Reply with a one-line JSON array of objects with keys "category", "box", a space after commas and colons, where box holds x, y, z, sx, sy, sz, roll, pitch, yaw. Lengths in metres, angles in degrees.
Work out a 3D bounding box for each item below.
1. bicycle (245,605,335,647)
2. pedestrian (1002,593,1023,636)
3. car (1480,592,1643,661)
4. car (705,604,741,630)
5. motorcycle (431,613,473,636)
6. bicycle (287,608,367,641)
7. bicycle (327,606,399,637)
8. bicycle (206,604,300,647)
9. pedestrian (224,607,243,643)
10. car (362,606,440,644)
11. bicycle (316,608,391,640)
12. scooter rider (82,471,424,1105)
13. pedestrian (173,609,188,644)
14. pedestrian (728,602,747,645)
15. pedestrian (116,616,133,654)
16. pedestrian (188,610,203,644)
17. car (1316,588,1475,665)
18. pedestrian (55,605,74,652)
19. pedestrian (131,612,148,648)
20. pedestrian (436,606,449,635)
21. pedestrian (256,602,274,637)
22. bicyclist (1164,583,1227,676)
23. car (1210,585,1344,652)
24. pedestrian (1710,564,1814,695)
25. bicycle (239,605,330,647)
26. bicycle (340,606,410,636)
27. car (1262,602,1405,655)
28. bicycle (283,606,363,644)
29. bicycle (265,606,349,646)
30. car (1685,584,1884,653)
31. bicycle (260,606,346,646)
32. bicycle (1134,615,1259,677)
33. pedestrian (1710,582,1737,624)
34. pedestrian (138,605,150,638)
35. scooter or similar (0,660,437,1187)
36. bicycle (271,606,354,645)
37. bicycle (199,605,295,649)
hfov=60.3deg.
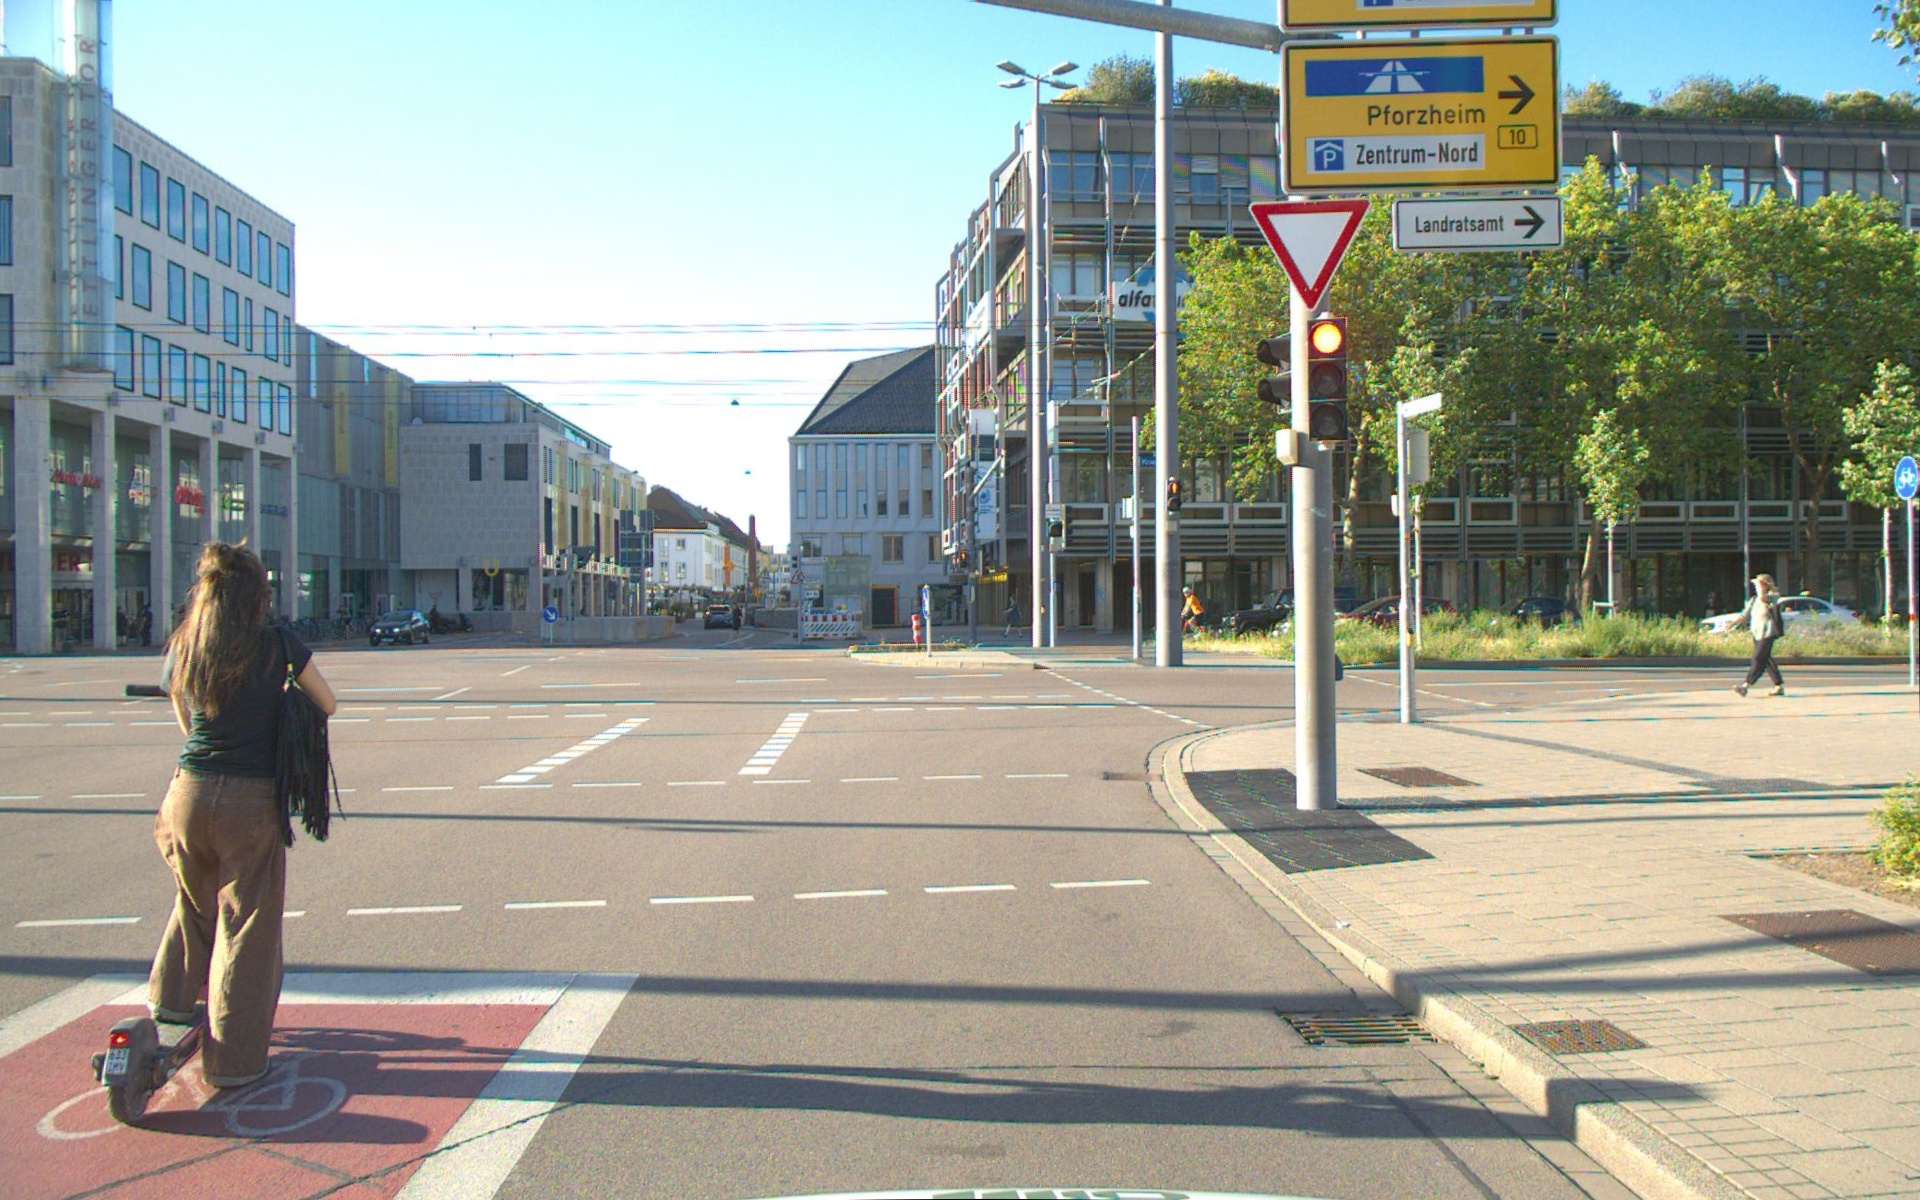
[{"category": "bicycle", "box": [-29.099, 1.122, 71.924, 3.427, 1.726, 1.114, -1, 0, -10]}, {"category": "pedestrian", "box": [2.093, 0.557, 65.465, 0.715, 1.687, 0.649, -1, 0, -8]}, {"category": "car", "box": [18.827, 0.823, 51.881, 4.359, 2.049, 1.998, 1, 0, -6]}, {"category": "car", "box": [-15.499, 1.096, 108.163, 2.157, 1.635, 4.320, -1, 0, -6]}, {"category": "motorcycle", "box": [-29.956, 1.434, 97.594, 2.230, 1.341, 0.719, -1, 0, -6]}, {"category": "bicycle", "box": [-30.543, 1.169, 79.856, 3.430, 1.554, 0.984, -1, 0, -12]}, {"category": "bicycle", "box": [-31.074, 1.118, 86.127, 3.430, 1.554, 0.984, -1, 0, -12]}, {"category": "bicycle", "box": [-29.549, 1.067, 69.190, 3.427, 1.726, 1.114, -1, 0, -10]}, {"category": "pedestrian", "box": [-33.795, 1.149, 76.951, 0.773, 1.671, 0.690, -1, 0, -21]}, {"category": "car", "box": [-23.523, 1.038, 69.761, 1.953, 1.512, 3.999, -1, 0, -1]}, {"category": "bicycle", "box": [-30.886, 1.211, 84.266, 3.430, 1.554, 0.984, -1, 0, -12]}, {"category": "scooter rider", "box": [-2.147, 0.534, 5.122, 0.713, 1.806, 0.811, 0, 0, -1]}, {"category": "pedestrian", "box": [-36.987, 1.255, 78.492, 0.472, 1.613, 0.598, -1, 0, -5]}, {"category": "pedestrian", "box": [-8.966, 0.946, 66.668, 0.650, 1.687, 0.755, -1, 0, -4]}, {"category": "pedestrian", "box": [-35.132, 1.465, 69.555, 0.472, 1.613, 0.513, -1, 0, -5]}, {"category": "pedestrian", "box": [-36.452, 1.266, 78.881, 0.472, 1.613, 0.598, -1, 0, -5]}, {"category": "car", "box": [12.231, 0.735, 46.579, 3.908, 2.049, 1.999, 1, 0, -3]}, {"category": "pedestrian", "box": [-31.860, 1.013, 58.844, 0.535, 1.671, 0.544, -1, 0, -33]}, {"category": "pedestrian", "box": [-34.855, 1.270, 70.291, 0.472, 1.537, 0.513, -1, 0, -5]}, {"category": "pedestrian", "box": [-30.754, 1.210, 98.285, 0.681, 1.671, 0.696, -1, 0, -15]}, {"category": "pedestrian", "box": [-33.079, 0.921, 78.721, 0.641, 1.671, 0.693, -1, 0, -9]}, {"category": "bicyclist", "box": [6.718, 0.833, 47.224, 1.539, 2.625, 0.930, -1, 0, -10]}, {"category": "car", "box": [10.304, 0.599, 53.920, 3.908, 2.049, 1.999, 1, 0, -3]}, {"category": "pedestrian", "box": [10.492, 0.373, 21.660, 0.787, 1.658, 0.939, -1, 0, -14]}, {"category": "bicycle", "box": [-28.869, 1.086, 70.712, 3.427, 1.726, 1.114, -1, 0, -10]}, {"category": "bicycle", "box": [-31.481, 1.136, 89.018, 3.430, 1.554, 0.984, -1, 0, -12]}, {"category": "car", "box": [11.439, 0.865, 50.817, 3.908, 1.534, 1.867, 1, 0, -4]}, {"category": "bicycle", "box": [-30.338, 1.186, 78.866, 3.430, 1.726, 0.984, -1, 0, -12]}, {"category": "bicycle", "box": [-29.799, 1.176, 75.581, 3.430, 1.726, 0.984, -1, 0, -12]}, {"category": "car", "box": [26.172, 0.581, 52.577, 5.332, 2.049, 2.096, 1, 0, -3]}, {"category": "bicycle", "box": [-29.575, 1.167, 74.493, 3.430, 1.726, 0.984, -1, 0, -12]}, {"category": "bicycle", "box": [6.747, 1.302, 47.223, 3.427, 1.688, 0.929, -1, 0, -10]}, {"category": "pedestrian", "box": [30.608, 0.117, 66.301, 0.651, 1.687, 0.740, -1, 0, -8]}, {"category": "pedestrian", "box": [-36.825, 0.968, 74.665, 0.379, 1.464, 0.367, -1, 0, -6]}, {"category": "scooter or similar", "box": [-2.156, 0.822, 4.888, 0.713, 1.223, 1.664, 0, 0, -1]}, {"category": "bicycle", "box": [-30.040, 1.177, 76.781, 3.430, 1.726, 0.984, -1, 0, -12]}, {"category": "bicycle", "box": [-29.323, 1.112, 68.032, 3.427, 1.726, 1.114, -1, 0, -10]}]
